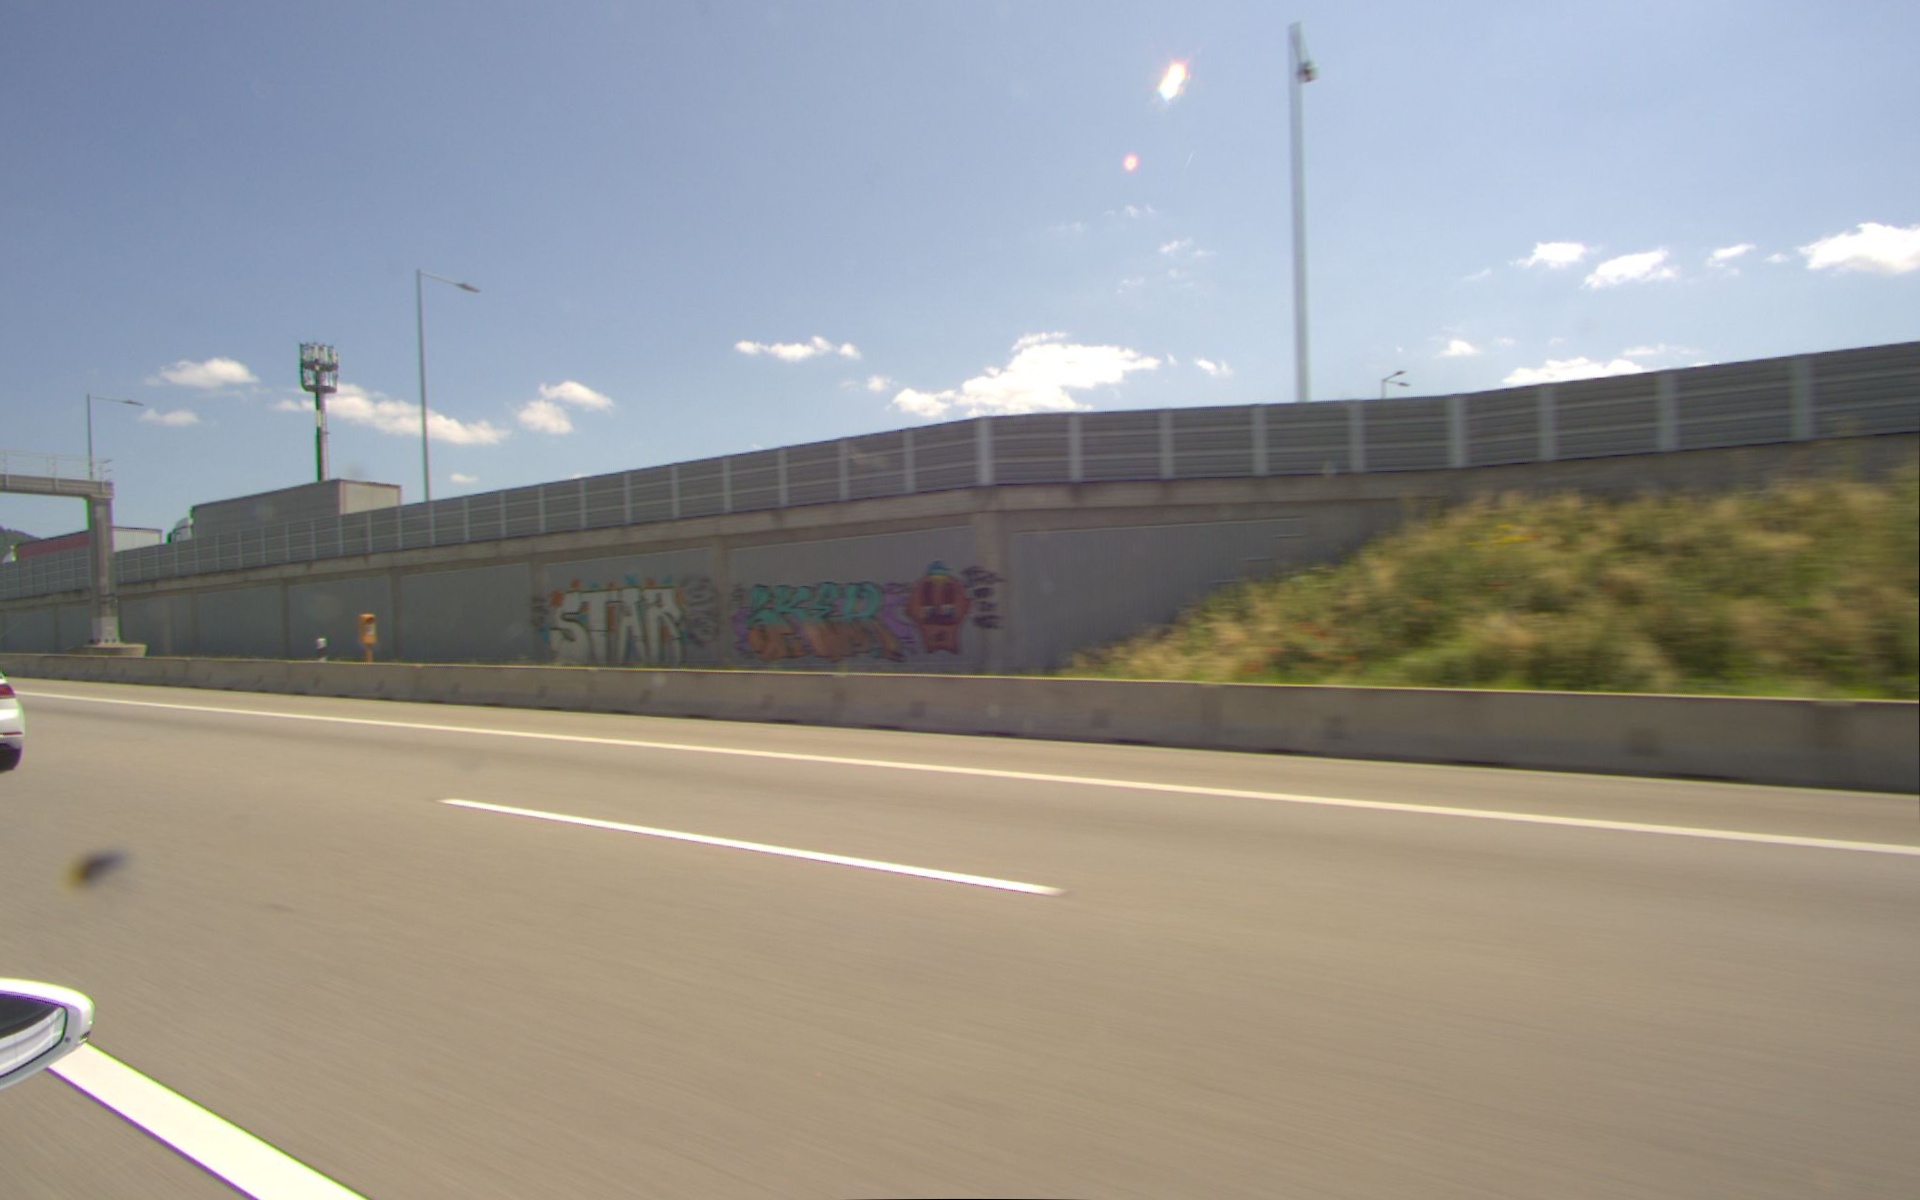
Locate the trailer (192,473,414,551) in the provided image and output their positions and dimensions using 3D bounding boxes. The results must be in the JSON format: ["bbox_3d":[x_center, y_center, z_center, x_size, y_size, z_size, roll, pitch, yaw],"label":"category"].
[{"bbox_3d":[-30.483,-3.856,46.022,14.318,2.252,2.716,-2,-2,32],"label":"trailer"}]

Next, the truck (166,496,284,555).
[{"bbox_3d":[-36.550,-3.636,49.748,5.950,2.258,2.719,-2,-2,32],"label":"truck"}]

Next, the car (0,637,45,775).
[{"bbox_3d":[-12.358,1.170,11.380,4.625,1.451,1.773,-2,-2,33],"label":"car"}]

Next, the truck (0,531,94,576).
[{"bbox_3d":[-57.233,-2.824,62.565,7.182,2.232,2.704,-2,-2,31],"label":"truck"}]

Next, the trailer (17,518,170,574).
[{"bbox_3d":[-50.997,-3.036,58.735,13.819,2.252,2.716,-2,-2,32],"label":"trailer"}]
